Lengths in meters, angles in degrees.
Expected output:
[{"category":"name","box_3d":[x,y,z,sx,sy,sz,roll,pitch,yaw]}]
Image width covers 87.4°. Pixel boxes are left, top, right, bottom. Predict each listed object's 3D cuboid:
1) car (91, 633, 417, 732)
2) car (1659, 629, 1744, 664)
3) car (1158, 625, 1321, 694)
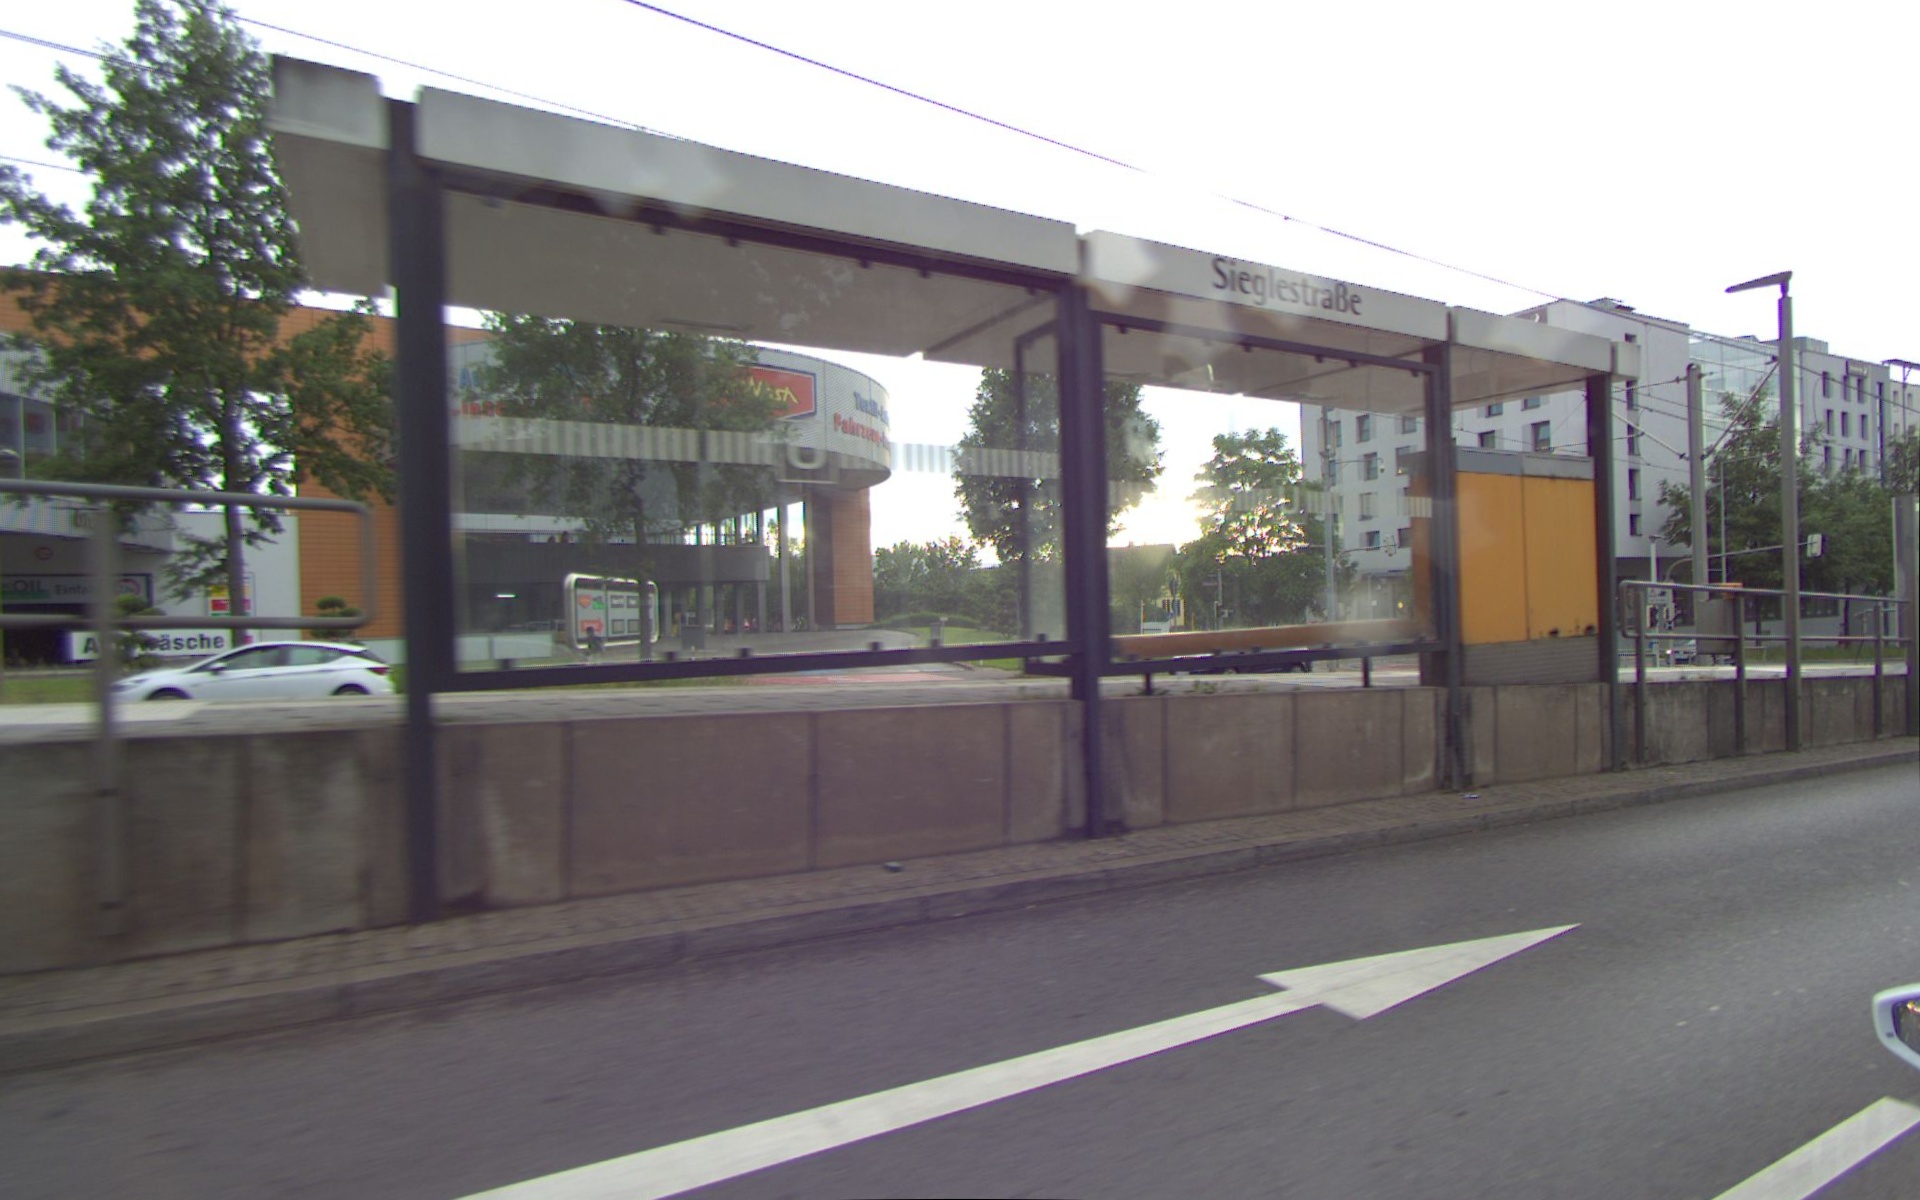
[{"category":"car","box_3d":[-12.715,1.436,18.482,4.656,1.538,1.982,2,0,-32]},{"category":"car","box_3d":[32.439,2.009,43.917,3.736,1.442,1.720,1,-1,-31]},{"category":"car","box_3d":[7.868,1.608,28.172,4.337,1.798,1.984,1,-1,-30]}]
